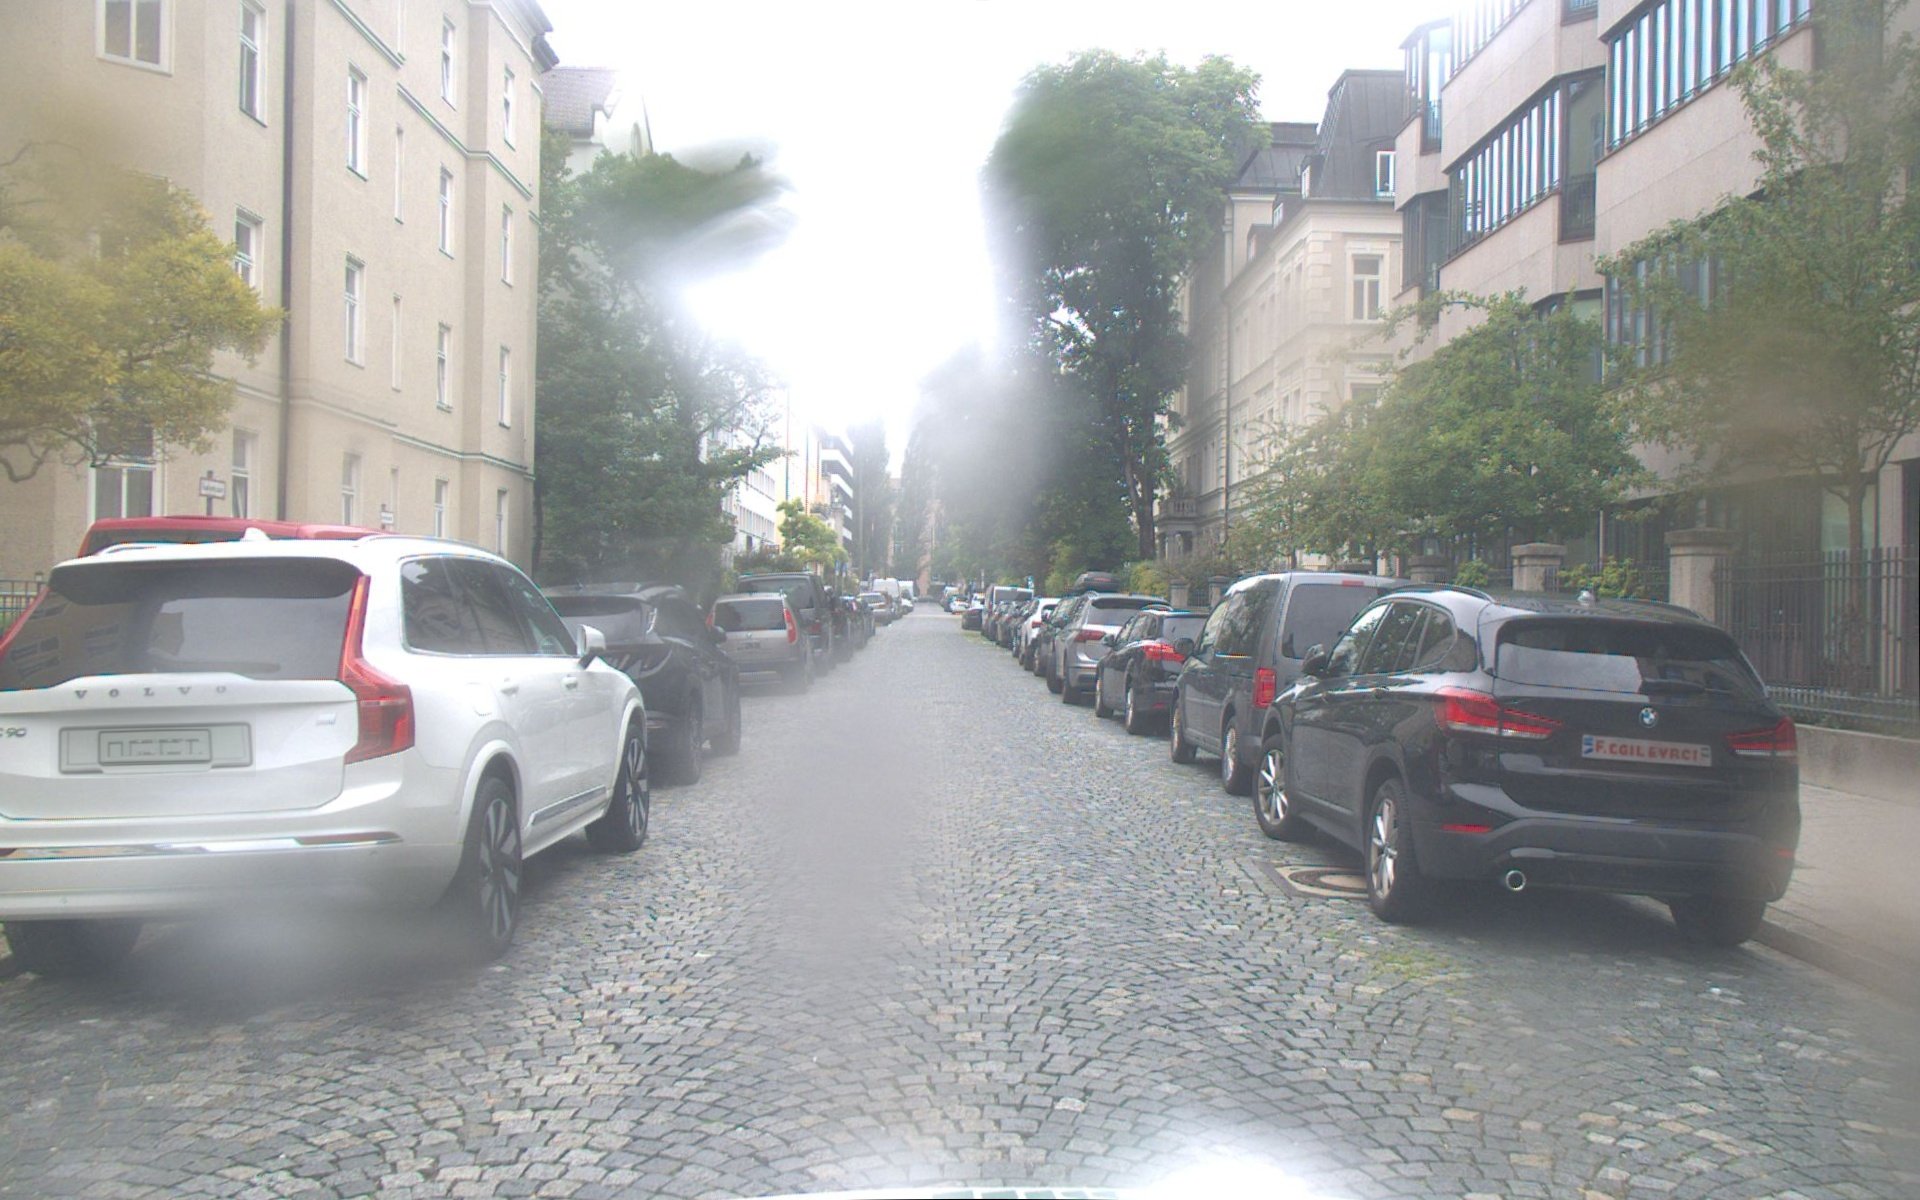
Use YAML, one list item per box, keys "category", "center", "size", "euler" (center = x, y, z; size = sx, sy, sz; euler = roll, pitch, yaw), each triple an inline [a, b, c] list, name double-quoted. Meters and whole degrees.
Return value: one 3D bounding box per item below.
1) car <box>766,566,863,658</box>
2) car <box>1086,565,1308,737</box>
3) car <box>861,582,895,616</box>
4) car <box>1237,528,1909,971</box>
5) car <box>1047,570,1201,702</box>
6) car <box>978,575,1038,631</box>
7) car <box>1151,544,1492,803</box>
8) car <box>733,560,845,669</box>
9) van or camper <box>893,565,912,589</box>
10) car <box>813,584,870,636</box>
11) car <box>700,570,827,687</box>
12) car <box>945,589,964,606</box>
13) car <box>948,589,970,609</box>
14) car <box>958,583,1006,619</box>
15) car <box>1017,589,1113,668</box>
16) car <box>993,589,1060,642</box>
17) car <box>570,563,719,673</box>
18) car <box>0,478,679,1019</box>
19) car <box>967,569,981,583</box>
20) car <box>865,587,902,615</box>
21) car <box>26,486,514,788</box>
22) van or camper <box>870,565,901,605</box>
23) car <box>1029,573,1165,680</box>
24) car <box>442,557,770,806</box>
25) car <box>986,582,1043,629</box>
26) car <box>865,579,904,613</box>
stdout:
- category: "car"
  center: [-3.382, 0.247, 39.318]
  size: [1.953, 1.950, 5.175]
  euler: [-3, 0, -2]
- category: "car"
  center: [2.803, 0.547, 20.644]
  size: [1.836, 1.765, 4.657]
  euler: [4, 0, -2]
- category: "car"
  center: [-4.778, -0.067, 96.372]
  size: [1.836, 1.807, 4.121]
  euler: [-3, 0, -2]
- category: "car"
  center: [2.960, 0.612, 9.289]
  size: [1.823, 1.731, 4.812]
  euler: [4, 0, -1]
- category: "car"
  center: [2.429, 0.500, 25.610]
  size: [1.835, 1.765, 4.891]
  euler: [3, 0, 0]
- category: "car"
  center: [1.822, 0.090, 64.265]
  size: [1.836, 1.962, 5.161]
  euler: [3, 0, -3]
- category: "car"
  center: [2.990, 0.545, 14.731]
  size: [1.753, 1.827, 4.507]
  euler: [4, 0, -3]
- category: "car"
  center: [-3.305, 0.247, 32.755]
  size: [1.835, 1.950, 4.825]
  euler: [-2, 0, -2]
- category: "van or camper"
  center: [-6.967, -2.784, 201.341]
  size: [2.210, 2.790, 5.097]
  euler: [1, 0, -1]
- category: "car"
  center: [-3.576, 0.276, 50.058]
  size: [1.629, 1.469, 4.168]
  euler: [-1, 0, -4]
- category: "car"
  center: [-3.231, 0.424, 27.934]
  size: [1.828, 1.765, 4.400]
  euler: [-2, 1, -4]
- category: "car"
  center: [-0.504, -0.230, 158.543]
  size: [1.753, 1.547, 3.999]
  euler: [1, 0, -1]
- category: "car"
  center: [-0.074, -0.094, 137.969]
  size: [1.753, 1.547, 3.999]
  euler: [1, 0, -1]
- category: "car"
  center: [0.962, 0.039, 76.308]
  size: [1.836, 1.529, 4.508]
  euler: [3, 0, -3]
- category: "car"
  center: [2.261, 0.577, 36.695]
  size: [1.835, 1.516, 4.617]
  euler: [3, 1, 1]
- category: "car"
  center: [2.036, 0.453, 51.677]
  size: [1.679, 1.498, 4.267]
  euler: [3, 0, -2]
- category: "car"
  center: [-5.687, 0.292, 30.367]
  size: [1.906, 1.765, 4.655]
  euler: [3, 0, -2]
- category: "car"
  center: [-2.838, 0.504, 8.308]
  size: [1.965, 1.840, 5.174]
  euler: [-1, 0, 0]
- category: "car"
  center: [1.988, -3.475, 241.043]
  size: [1.953, 2.049, 3.999]
  euler: [1, 0, -1]
- category: "car"
  center: [-4.684, 0.050, 101.876]
  size: [1.834, 1.607, 4.209]
  euler: [3, 0, 2]
- category: "car"
  center: [-5.364, 0.237, 13.815]
  size: [1.954, 1.964, 5.328]
  euler: [2, 0, -2]
- category: "van or camper"
  center: [-5.212, -1.061, 116.809]
  size: [1.953, 2.698, 3.999]
  euler: [-2, 0, -1]
- category: "car"
  center: [2.515, 0.449, 31.567]
  size: [1.836, 1.765, 4.744]
  euler: [4, 0, -3]
- category: "car"
  center: [-2.944, 0.603, 14.871]
  size: [1.878, 1.765, 4.755]
  euler: [-3, 0, -1]
- category: "car"
  center: [1.904, 0.177, 58.694]
  size: [1.800, 1.516, 4.421]
  euler: [3, 0, 0]
- category: "car"
  center: [-3.846, -0.222, 83.839]
  size: [1.836, 1.607, 4.253]
  euler: [-2, 0, -3]
